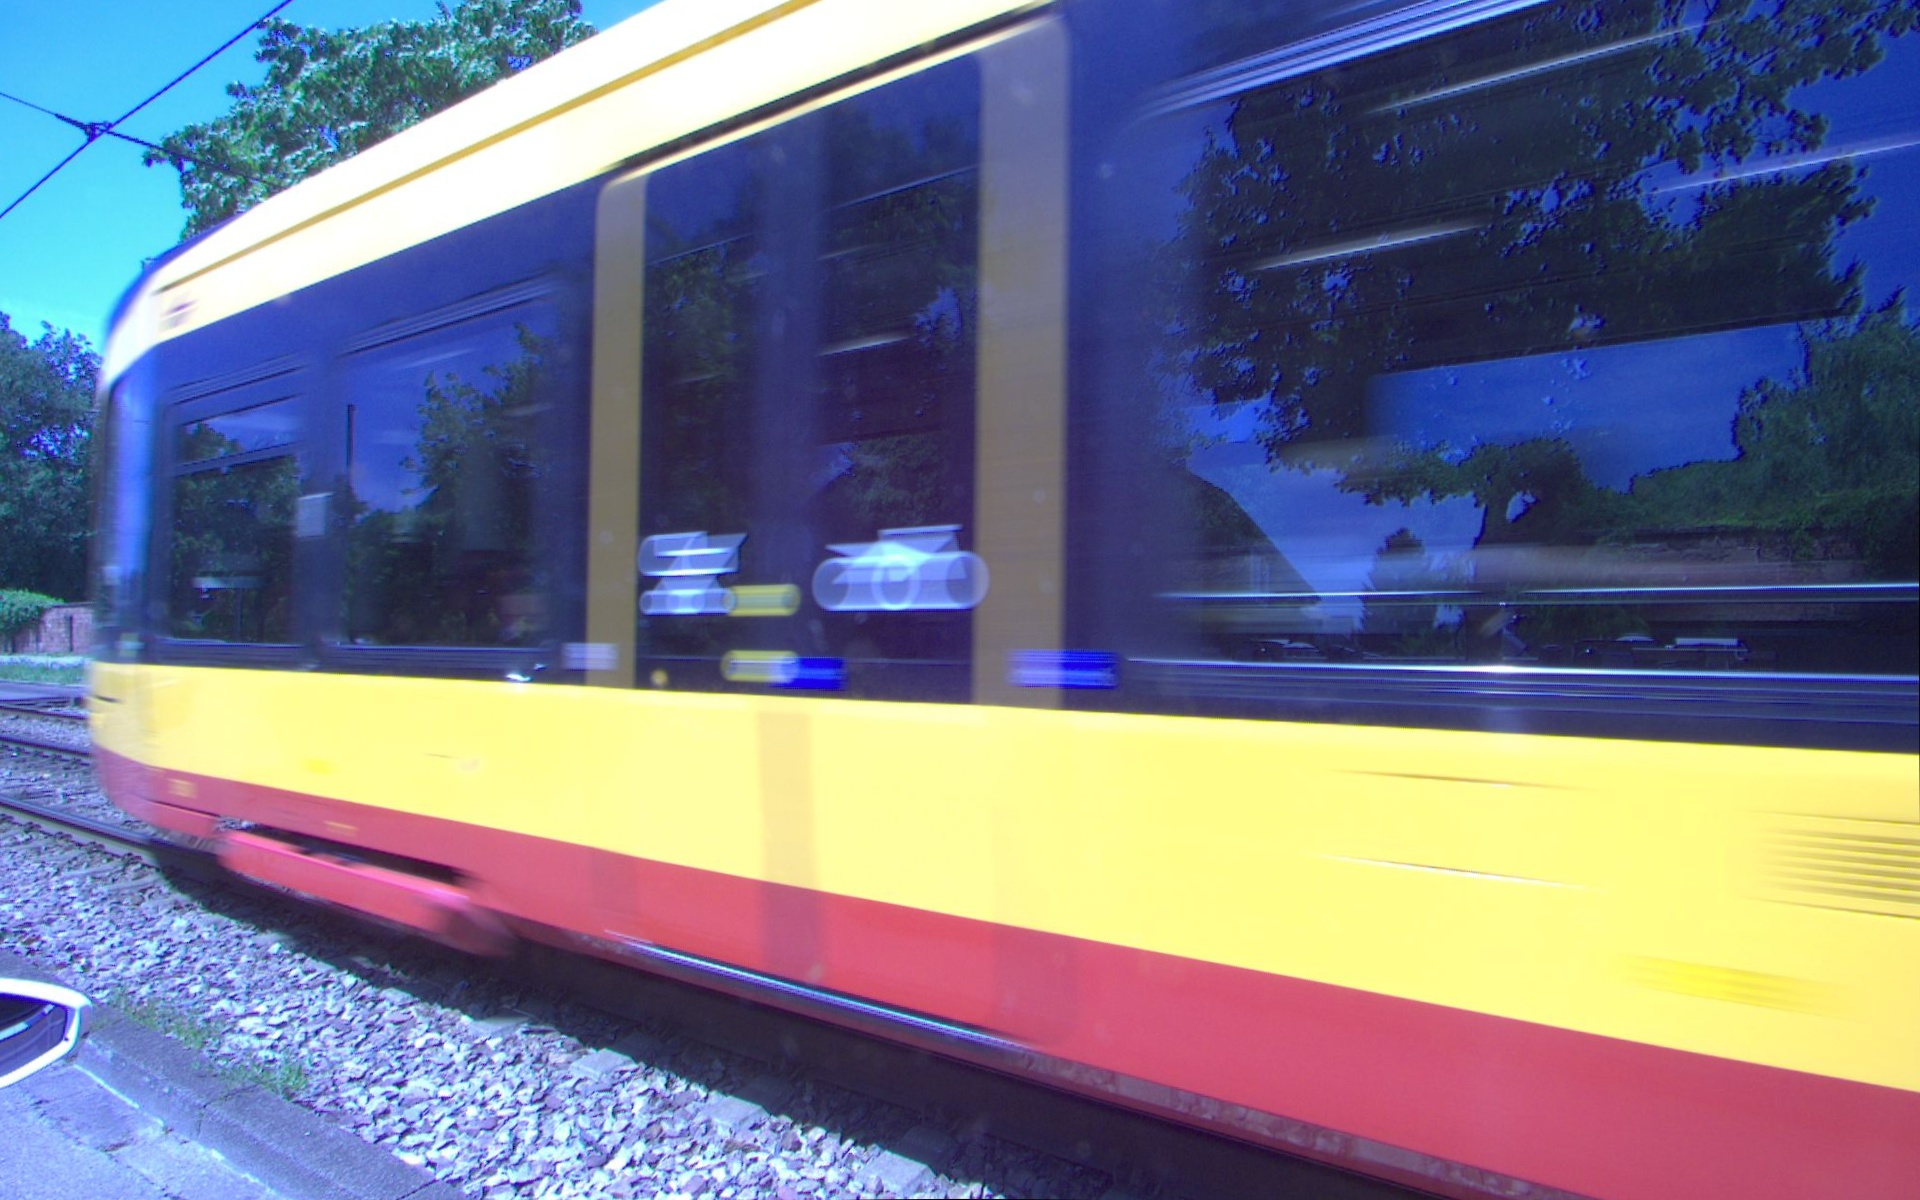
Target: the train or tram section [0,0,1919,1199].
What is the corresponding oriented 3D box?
[{"bbox_3d":[0.404,0.307,3.617,14.060,3.855,2.801,-1,-2,32],"label":"train or tram section"}]
